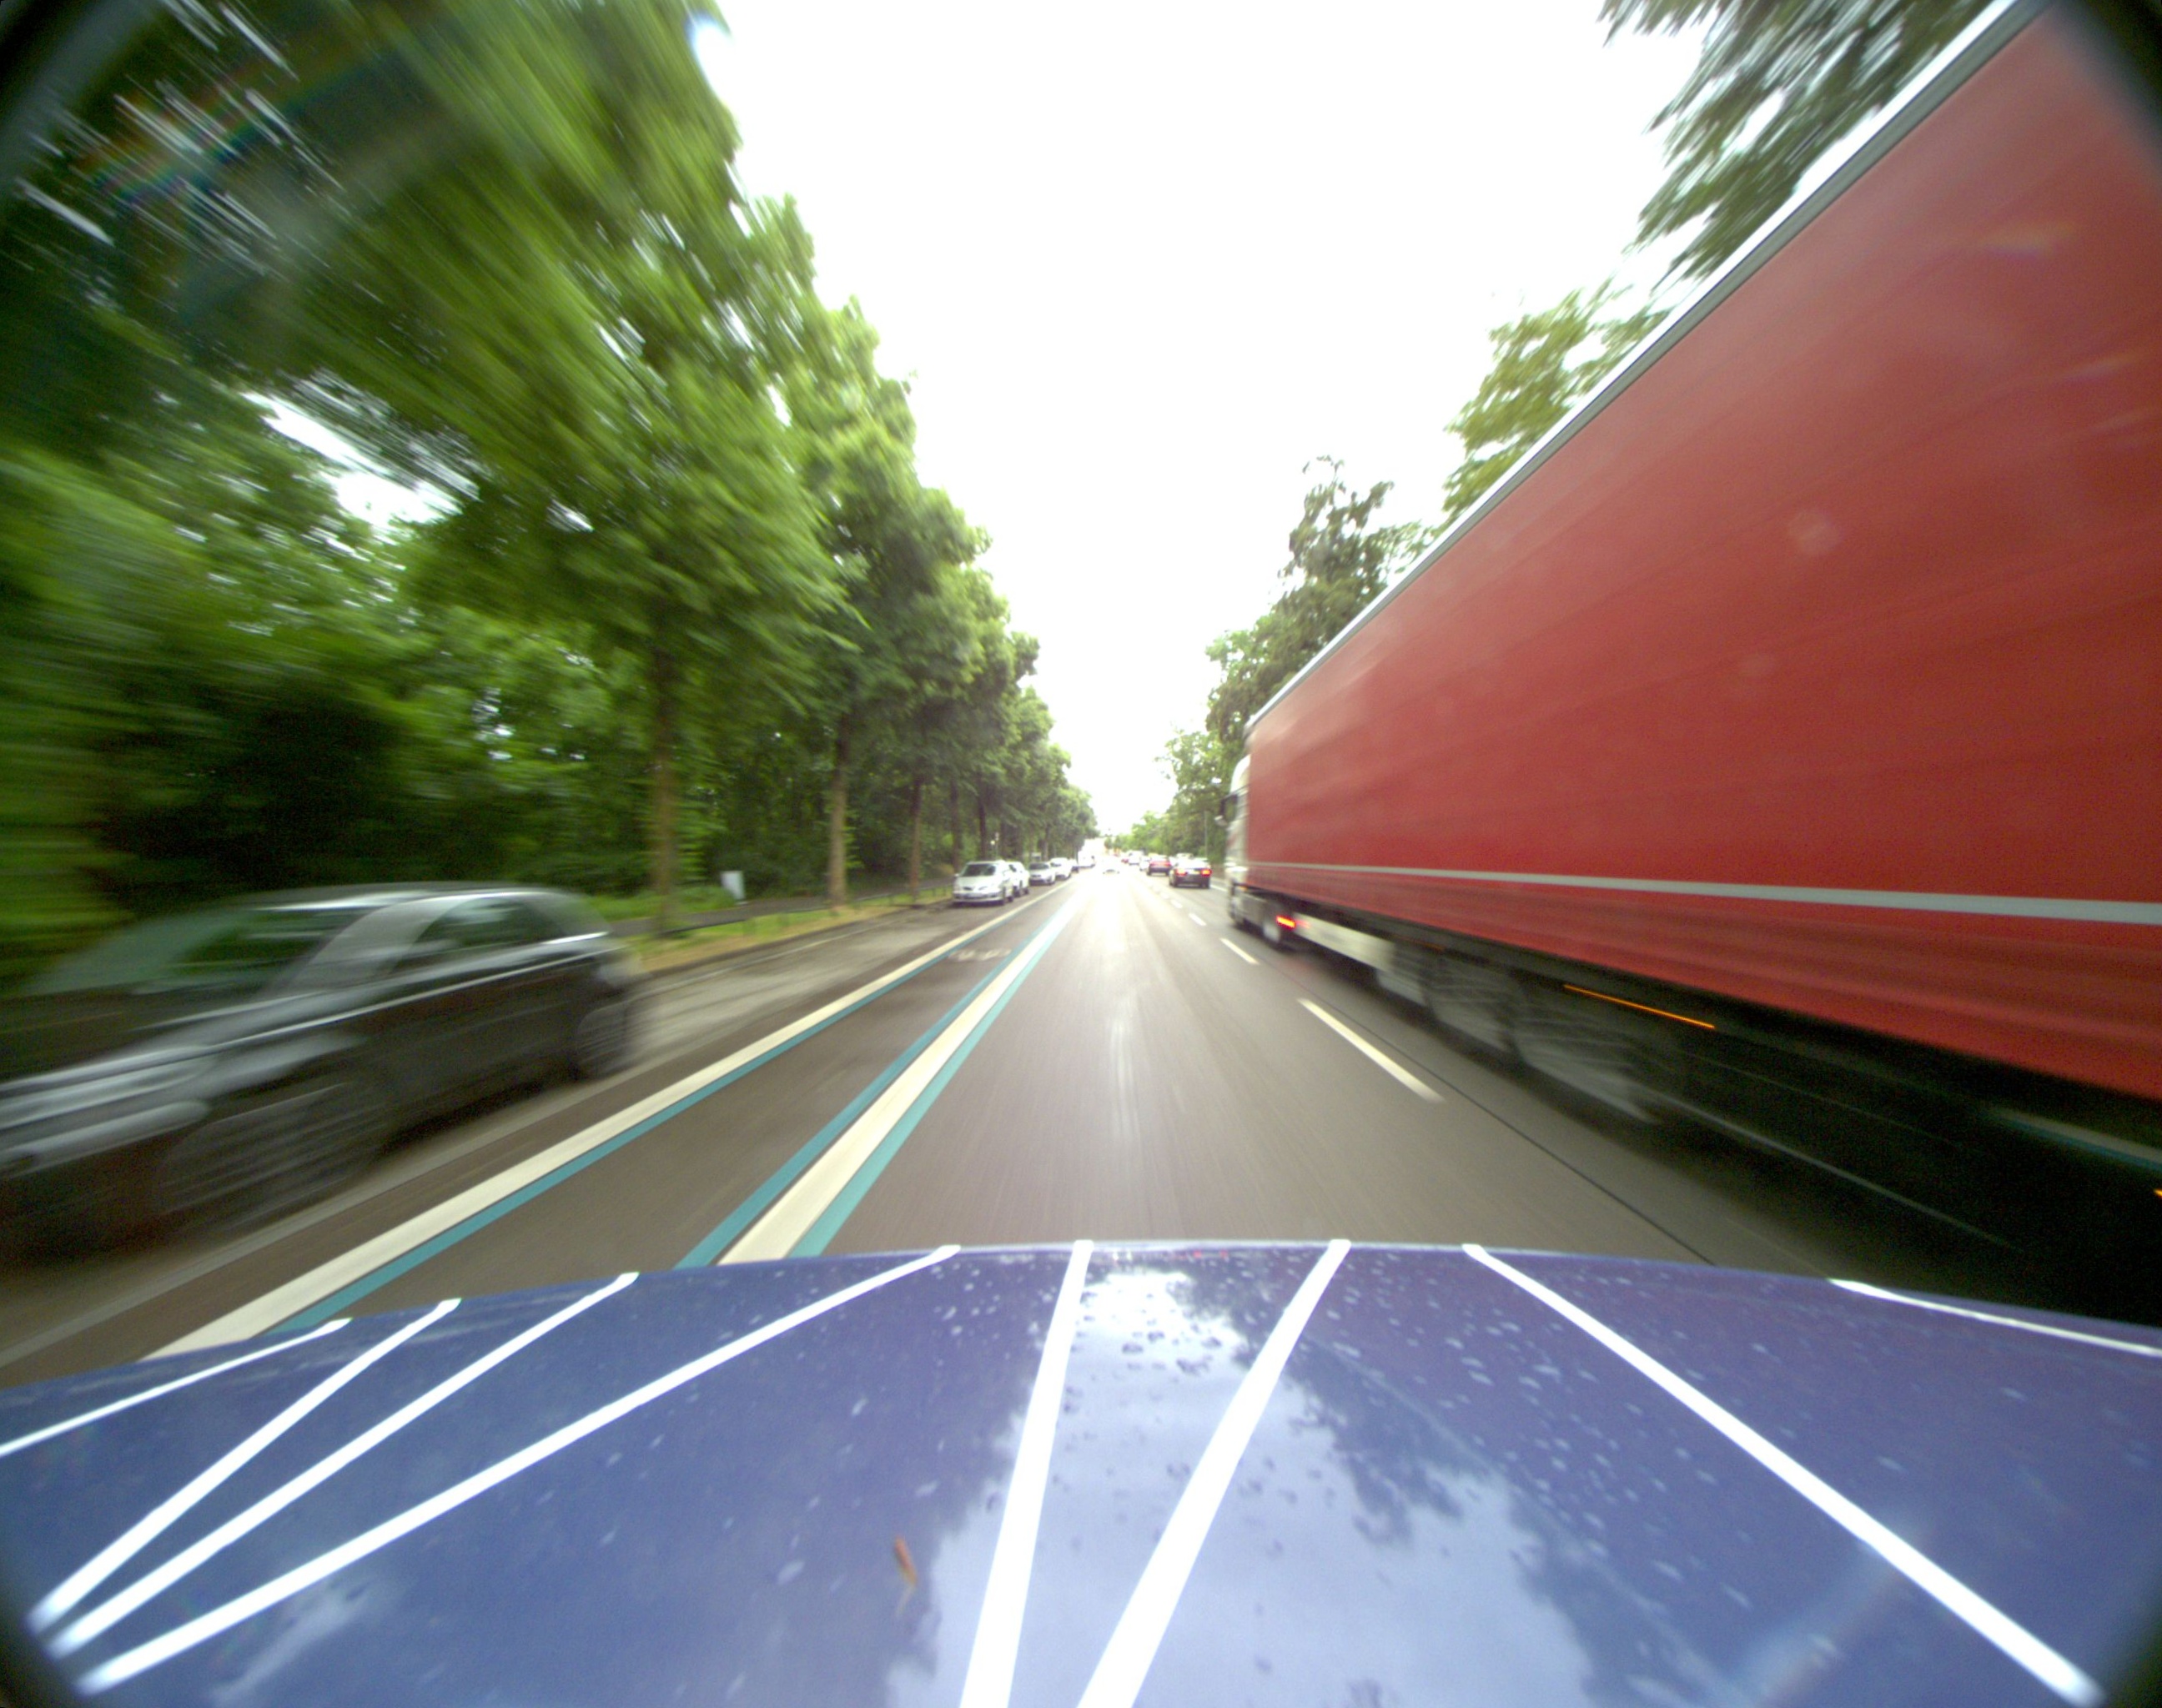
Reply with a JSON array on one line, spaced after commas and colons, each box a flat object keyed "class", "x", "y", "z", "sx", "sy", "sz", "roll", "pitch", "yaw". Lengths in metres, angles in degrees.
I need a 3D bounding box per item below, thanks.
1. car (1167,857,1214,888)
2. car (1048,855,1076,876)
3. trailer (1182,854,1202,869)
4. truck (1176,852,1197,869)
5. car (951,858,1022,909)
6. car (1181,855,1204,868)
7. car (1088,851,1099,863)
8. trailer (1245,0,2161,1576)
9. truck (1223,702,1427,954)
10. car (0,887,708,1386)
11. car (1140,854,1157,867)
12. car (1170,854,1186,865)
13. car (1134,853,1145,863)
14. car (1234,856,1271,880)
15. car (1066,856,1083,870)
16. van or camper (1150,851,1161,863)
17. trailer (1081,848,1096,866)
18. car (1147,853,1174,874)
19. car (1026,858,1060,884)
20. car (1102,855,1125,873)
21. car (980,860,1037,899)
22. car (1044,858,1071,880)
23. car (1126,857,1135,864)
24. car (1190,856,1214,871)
[{"class": "car", "x": 5.585, "y": 0.907, "z": 39.225, "sx": 1.919, "sy": 1.448, "sz": 4.621, "roll": 1, "pitch": 0, "yaw": 2}, {"class": "car", "x": -1.563, "y": 0.934, "z": 63.636, "sx": 1.998, "sy": 1.652, "sz": 4.563, "roll": -2, "pitch": 0, "yaw": 2}, {"class": "trailer", "x": 12.937, "y": 0.848, "z": 88.412, "sx": 1.347, "sy": 1.647, "sz": 2.271, "roll": -1, "pitch": 0, "yaw": 41}, {"class": "truck", "x": 12.987, "y": 0.743, "z": 93.883, "sx": 2.098, "sy": 2.002, "sz": 5.160, "roll": -1, "pitch": 0, "yaw": 2}, {"class": "car", "x": -3.327, "y": 0.989, "z": 27.566, "sx": 1.757, "sy": 1.587, "sz": 4.740, "roll": -2, "pitch": 0, "yaw": 2}, {"class": "car", "x": 12.141, "y": 0.803, "z": 83.320, "sx": 1.826, "sy": 1.390, "sz": 4.445, "roll": -1, "pitch": 0, "yaw": 0}, {"class": "car", "x": 2.630, "y": 0.608, "z": 159.984, "sx": 1.998, "sy": 2.231, "sz": 4.000, "roll": -2, "pitch": 0, "yaw": 3}, {"class": "trailer", "x": 4.009, "y": -0.531, "z": 7.078, "sx": 2.694, "sy": 4.234, "sz": 12.771, "roll": 1, "pitch": 0, "yaw": 3}, {"class": "truck", "x": 4.381, "y": -0.430, "z": 14.707, "sx": 2.523, "sy": 4.023, "sz": 4.917, "roll": 1, "pitch": 0, "yaw": 3}, {"class": "car", "x": -4.487, "y": 1.074, "z": 4.754, "sx": 1.829, "sy": 1.494, "sz": 4.572, "roll": -1, "pitch": 0, "yaw": 3}, {"class": "car", "x": 7.532, "y": 0.708, "z": 85.193, "sx": 1.780, "sy": 1.457, "sz": 4.063, "roll": 1, "pitch": 0, "yaw": 3}, {"class": "car", "x": 13.236, "y": 0.739, "z": 103.968, "sx": 1.811, "sy": 1.489, "sz": 4.753, "roll": -1, "pitch": 1, "yaw": 3}, {"class": "car", "x": 10.644, "y": 0.716, "z": 138.261, "sx": 1.958, "sy": 1.629, "sz": 4.445, "roll": 1, "pitch": 0, "yaw": 2}, {"class": "car", "x": 10.911, "y": 0.851, "z": 48.579, "sx": 1.694, "sy": 1.397, "sz": 4.029, "roll": -2, "pitch": 0, "yaw": 3}, {"class": "car", "x": -0.690, "y": 0.997, "z": 83.186, "sx": 1.699, "sy": 1.468, "sz": 3.998, "roll": -1, "pitch": 0, "yaw": 1}, {"class": "van or camper", "x": 16.482, "y": 0.670, "z": 167.816, "sx": 2.165, "sy": 2.437, "sz": 4.437, "roll": -1, "pitch": 0, "yaw": 3}, {"class": "trailer", "x": 1.103, "y": 0.400, "z": 112.131, "sx": 1.988, "sy": 2.550, "sz": 4.000, "roll": -2, "pitch": 0, "yaw": 0}, {"class": "car", "x": 6.631, "y": 0.761, "z": 63.489, "sx": 1.965, "sy": 1.608, "sz": 4.466, "roll": 1, "pitch": 0, "yaw": 3}, {"class": "car", "x": -2.300, "y": 1.037, "z": 46.933, "sx": 1.702, "sy": 1.445, "sz": 4.098, "roll": -2, "pitch": 0, "yaw": 1}, {"class": "car", "x": 3.118, "y": 0.910, "z": 72.524, "sx": 1.998, "sy": 1.588, "sz": 4.001, "roll": -2, "pitch": 0, "yaw": 3}, {"class": "car", "x": -3.121, "y": 1.063, "z": 33.509, "sx": 1.701, "sy": 1.504, "sz": 4.470, "roll": -2, "pitch": 0, "yaw": 4}, {"class": "car", "x": -1.698, "y": 1.099, "z": 56.818, "sx": 1.702, "sy": 1.445, "sz": 3.947, "roll": -2, "pitch": 0, "yaw": 2}, {"class": "car", "x": 12.279, "y": 1.598, "z": 188.350, "sx": 2.042, "sy": 1.639, "sz": 4.478, "roll": -1, "pitch": 0, "yaw": 4}, {"class": "car", "x": 12.186, "y": 0.928, "z": 76.586, "sx": 1.758, "sy": 1.427, "sz": 4.357, "roll": 0, "pitch": 0, "yaw": 1}]
